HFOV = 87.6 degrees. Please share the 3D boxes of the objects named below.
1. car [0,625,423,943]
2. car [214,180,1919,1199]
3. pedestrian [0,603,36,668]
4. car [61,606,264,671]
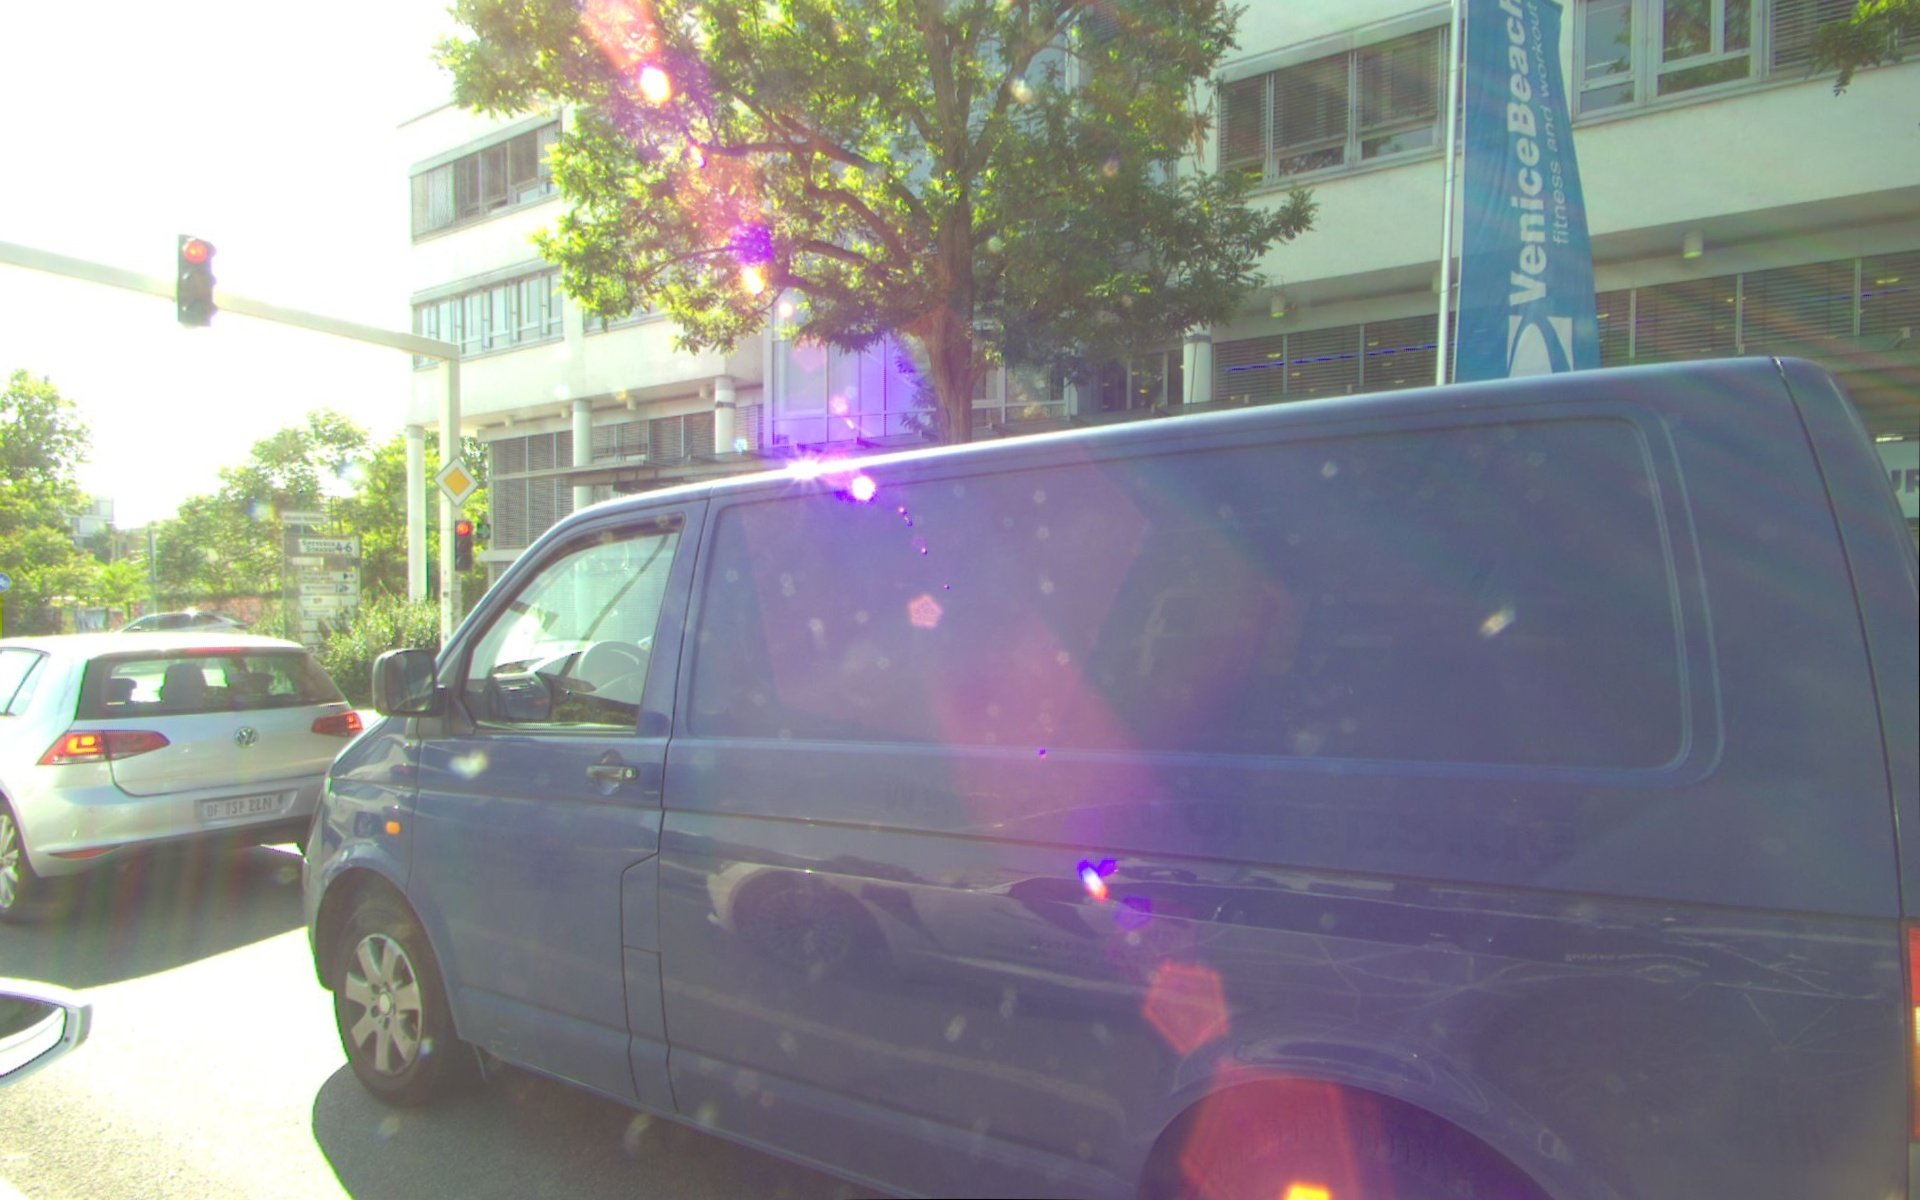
[{"bbox_3d":[-5.499,0.921,6.446,3.941,1.448,1.805,-1,-1,30],"label":"car"},{"bbox_3d":[-0.122,0.540,3.173,4.821,1.973,1.989,-1,-1,32],"label":"car"},{"bbox_3d":[-30.078,1.112,31.644,1.023,2.040,1.025,0,0,32],"label":"pedestrian"},{"bbox_3d":[-23.468,1.071,29.577,1.978,1.572,4.392,-1,2,43],"label":"car"}]
